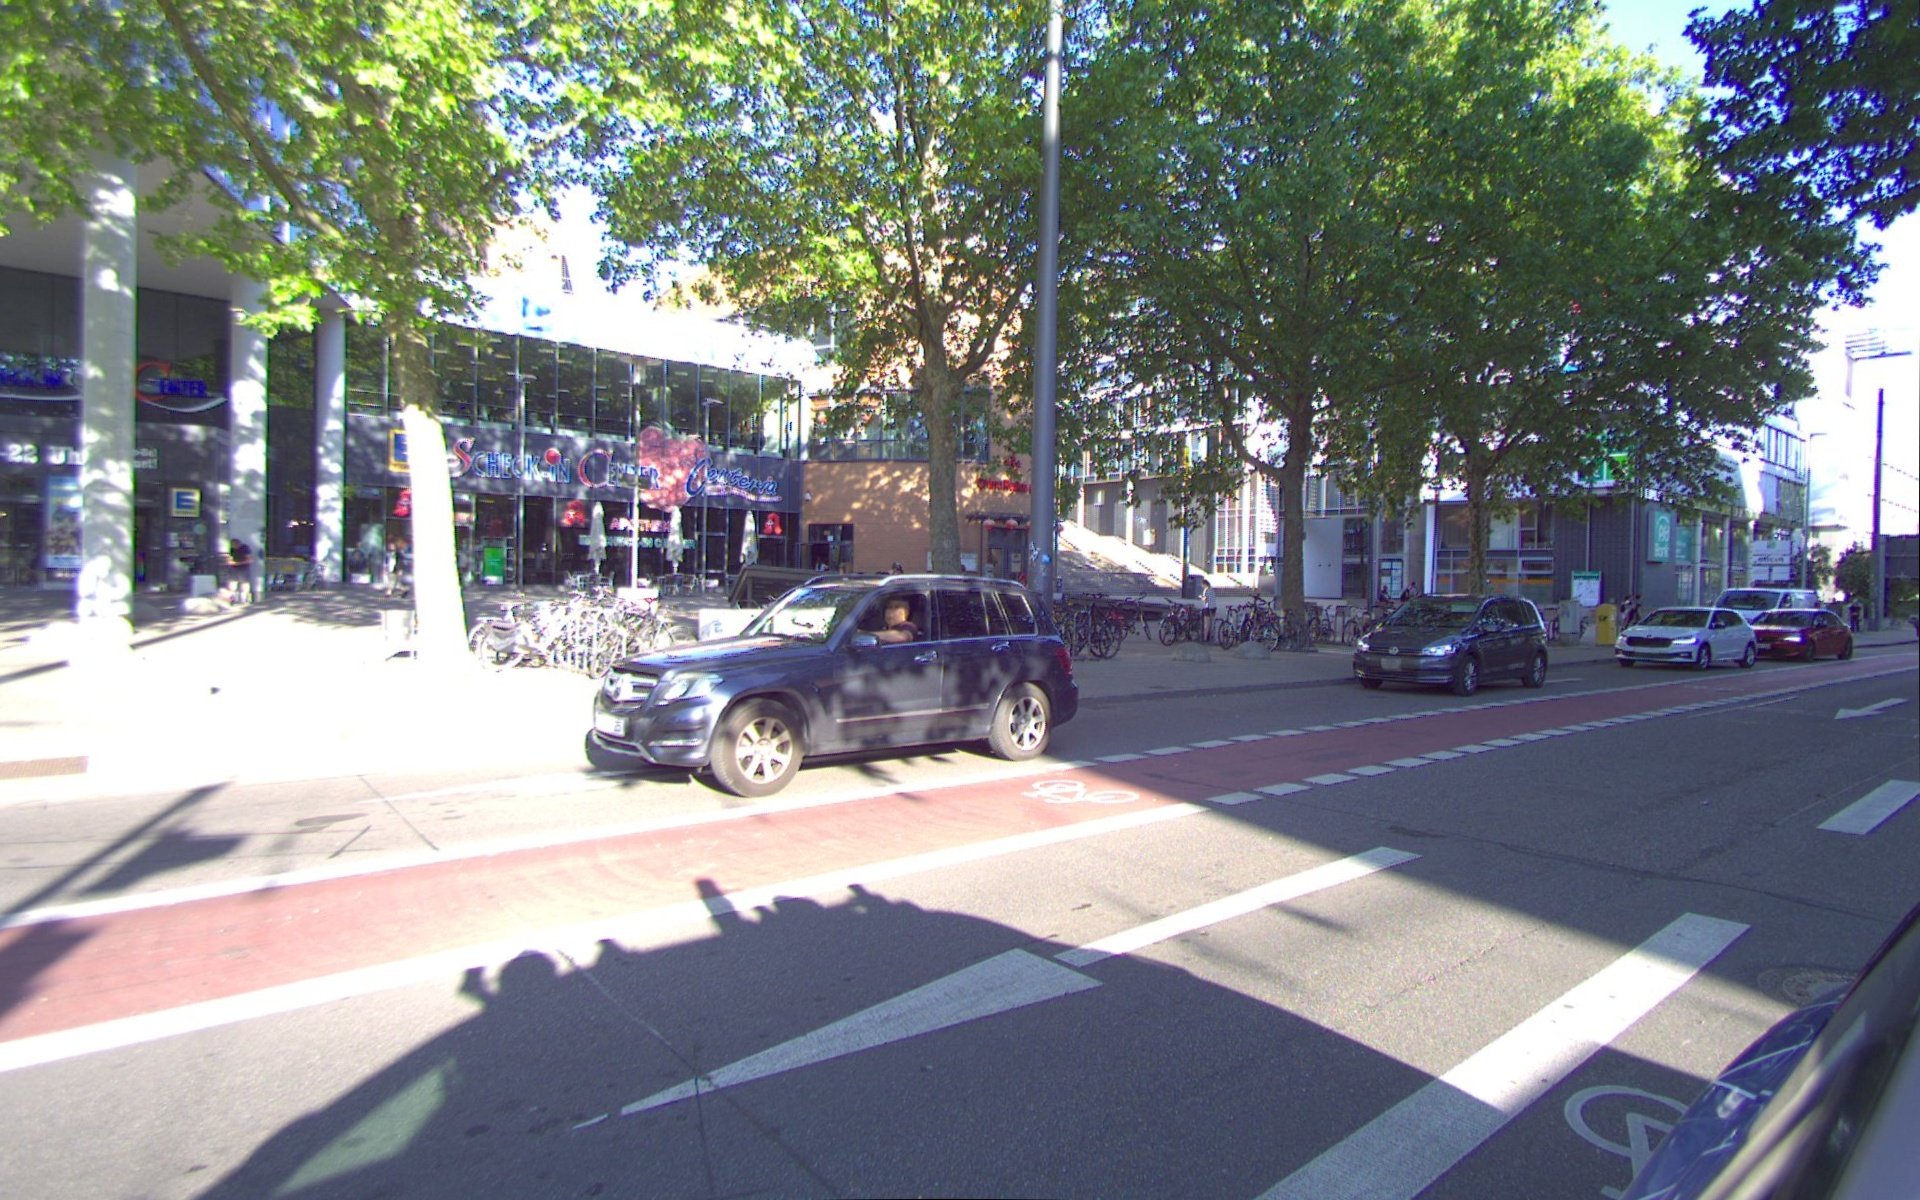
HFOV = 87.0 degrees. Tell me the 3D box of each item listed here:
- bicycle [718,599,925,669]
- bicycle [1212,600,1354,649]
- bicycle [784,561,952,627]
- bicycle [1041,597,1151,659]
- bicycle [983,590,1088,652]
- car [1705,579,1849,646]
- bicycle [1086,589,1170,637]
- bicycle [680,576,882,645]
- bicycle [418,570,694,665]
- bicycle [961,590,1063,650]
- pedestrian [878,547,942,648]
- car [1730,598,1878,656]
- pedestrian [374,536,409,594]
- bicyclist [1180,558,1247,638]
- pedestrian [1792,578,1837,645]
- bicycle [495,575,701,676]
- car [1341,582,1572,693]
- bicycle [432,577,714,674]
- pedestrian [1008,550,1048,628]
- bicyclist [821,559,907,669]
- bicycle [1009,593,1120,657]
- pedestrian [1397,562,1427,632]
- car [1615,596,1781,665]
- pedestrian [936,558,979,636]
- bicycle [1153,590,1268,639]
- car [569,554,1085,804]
[{"bbox_3d":[-2.211,0.501,16.660,3.352,1.014,1.050,-1,0,-41],"label":"bicycle"},{"bbox_3d":[7.466,0.544,23.394,3.136,1.038,0.979,0,0,-18],"label":"bicycle"},{"bbox_3d":[-1.400,-0.099,15.885,2.591,0.960,0.924,-1,0,-41],"label":"bicycle"},{"bbox_3d":[2.583,0.490,19.059,2.295,1.073,0.682,-1,1,-39],"label":"bicycle"},{"bbox_3d":[1.544,0.402,20.463,2.263,1.177,0.671,-1,0,-38],"label":"bicycle"},{"bbox_3d":[26.143,0.353,32.309,5.804,1.989,1.935,0,0,-34],"label":"car"},{"bbox_3d":[4.517,0.312,27.101,2.653,1.215,0.698,-1,1,-41],"label":"bicycle"},{"bbox_3d":[-3.020,0.142,17.479,3.352,1.013,1.051,-1,6,-41],"label":"bicycle"},{"bbox_3d":[-5.971,0.304,15.245,3.743,1.236,0.729,4,-2,-35],"label":"bicycle"},{"bbox_3d":[1.095,0.380,20.981,2.251,1.177,0.657,-1,0,-38],"label":"bicycle"},{"bbox_3d":[-1.030,-0.070,21.124,0.922,2.039,1.085,2,1,24],"label":"pedestrian"},{"bbox_3d":[23.438,0.705,28.087,4.111,1.508,1.839,0,-1,-30],"label":"car"},{"bbox_3d":[-17.457,-1.070,31.093,0.823,1.765,0.645,0,1,-41],"label":"pedestrian"},{"bbox_3d":[6.653,-0.078,26.587,1.132,2.039,1.301,0,1,-24],"label":"bicyclist"},{"bbox_3d":[26.575,0.369,31.478,0.959,2.039,0.816,1,-1,-31],"label":"pedestrian"},{"bbox_3d":[-4.860,0.297,13.706,2.504,1.236,0.758,-2,1,-35],"label":"bicycle"},{"bbox_3d":[8.464,0.557,17.118,4.308,1.656,1.711,0,0,-36],"label":"car"},{"bbox_3d":[-5.516,0.309,14.696,3.744,1.236,0.758,-2,1,-35],"label":"bicycle"},{"bbox_3d":[1.992,-0.327,29.694,0.884,2.261,0.845,0,0,-19],"label":"pedestrian"},{"bbox_3d":[-1.500,0.198,15.809,1.005,1.641,0.902,0,0,-41],"label":"bicyclist"},{"bbox_3d":[2.076,0.453,19.856,2.355,1.177,0.750,-1,0,-40],"label":"bicycle"},{"bbox_3d":[17.392,-0.112,38.960,0.967,2.681,0.897,0,0,18],"label":"pedestrian"},{"bbox_3d":[17.576,0.670,24.063,4.113,1.508,1.838,0,0,-33],"label":"car"},{"bbox_3d":[-0.091,-0.099,29.989,1.195,2.276,1.052,0,0,-3],"label":"pedestrian"},{"bbox_3d":[6.561,0.354,26.801,1.124,1.097,3.342,0,2,-23],"label":"bicycle"},{"bbox_3d":[-0.966,0.513,8.764,4.176,1.656,1.767,0,0,-41],"label":"car"}]
